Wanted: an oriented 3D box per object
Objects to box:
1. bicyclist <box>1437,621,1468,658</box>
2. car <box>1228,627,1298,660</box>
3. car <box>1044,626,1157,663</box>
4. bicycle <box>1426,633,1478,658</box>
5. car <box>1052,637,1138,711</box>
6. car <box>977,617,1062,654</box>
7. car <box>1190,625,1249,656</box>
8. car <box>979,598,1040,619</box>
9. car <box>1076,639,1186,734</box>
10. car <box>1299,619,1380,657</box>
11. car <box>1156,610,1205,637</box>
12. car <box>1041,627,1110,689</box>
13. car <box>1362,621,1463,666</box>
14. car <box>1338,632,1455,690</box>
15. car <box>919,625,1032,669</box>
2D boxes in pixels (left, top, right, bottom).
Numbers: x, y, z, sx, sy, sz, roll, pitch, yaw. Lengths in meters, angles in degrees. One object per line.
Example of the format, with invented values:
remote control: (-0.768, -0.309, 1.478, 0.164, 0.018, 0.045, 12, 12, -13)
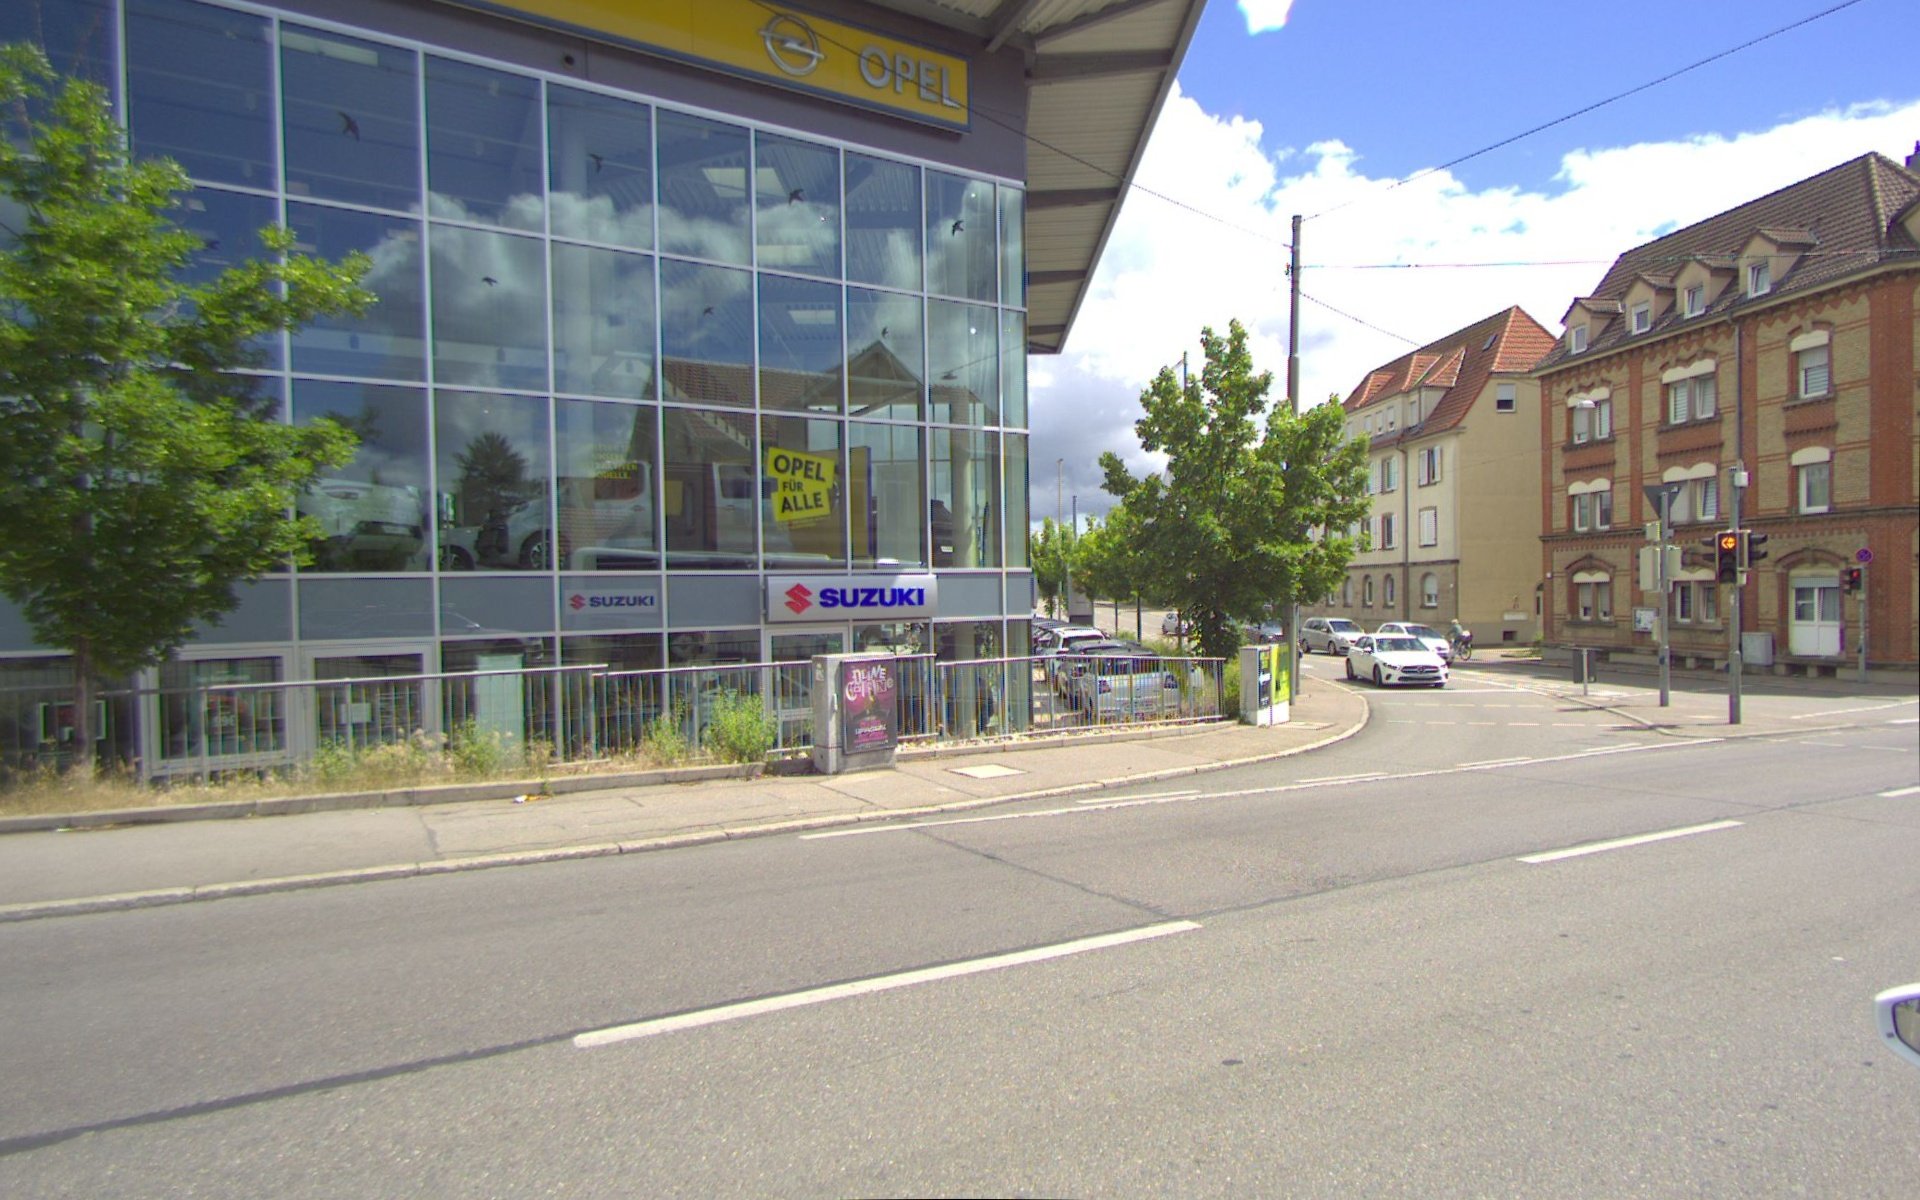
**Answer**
bicyclist: (21.066, 1.681, 42.977, 0.581, 1.519, 1.069, 1, -1, -21)
car: (15.335, 2.184, 51.018, 1.963, 1.539, 3.996, 1, -1, -7)
car: (5.168, 1.634, 37.208, 3.921, 1.202, 1.818, 1, -1, 0)
bicycle: (21.042, 1.947, 43.008, 0.597, 1.033, 2.181, 1, -1, -21)
car: (3.233, 1.755, 24.698, 1.487, 1.543, 3.792, 1, -1, -2)
car: (2.650, 1.586, 45.866, 1.974, 1.599, 4.476, 1, -1, -26)
car: (14.763, 2.275, 57.435, 1.963, 1.664, 3.996, 1, -1, -7)
car: (3.240, 0.552, 66.323, 3.921, 1.311, 1.818, 1, -1, 0)
car: (3.398, 1.690, 20.549, 1.720, 1.596, 3.687, 2, -1, 2)
car: (16.738, 1.641, 44.511, 1.715, 1.539, 3.996, 1, -1, -7)
car: (14.085, 1.496, 64.394, 1.961, 1.607, 4.345, 1, 0, -2)
car: (3.282, 1.634, 29.092, 1.487, 1.596, 3.414, 1, -1, -2)
car: (17.065, 1.608, 38.086, 1.670, 1.517, 3.995, 1, -1, -7)
car: (12.371, 1.685, 28.772, 1.825, 1.466, 4.394, 1, -1, 6)
car: (0.595, 1.698, 37.253, 3.919, 1.478, 1.605, 1, -1, 15)
